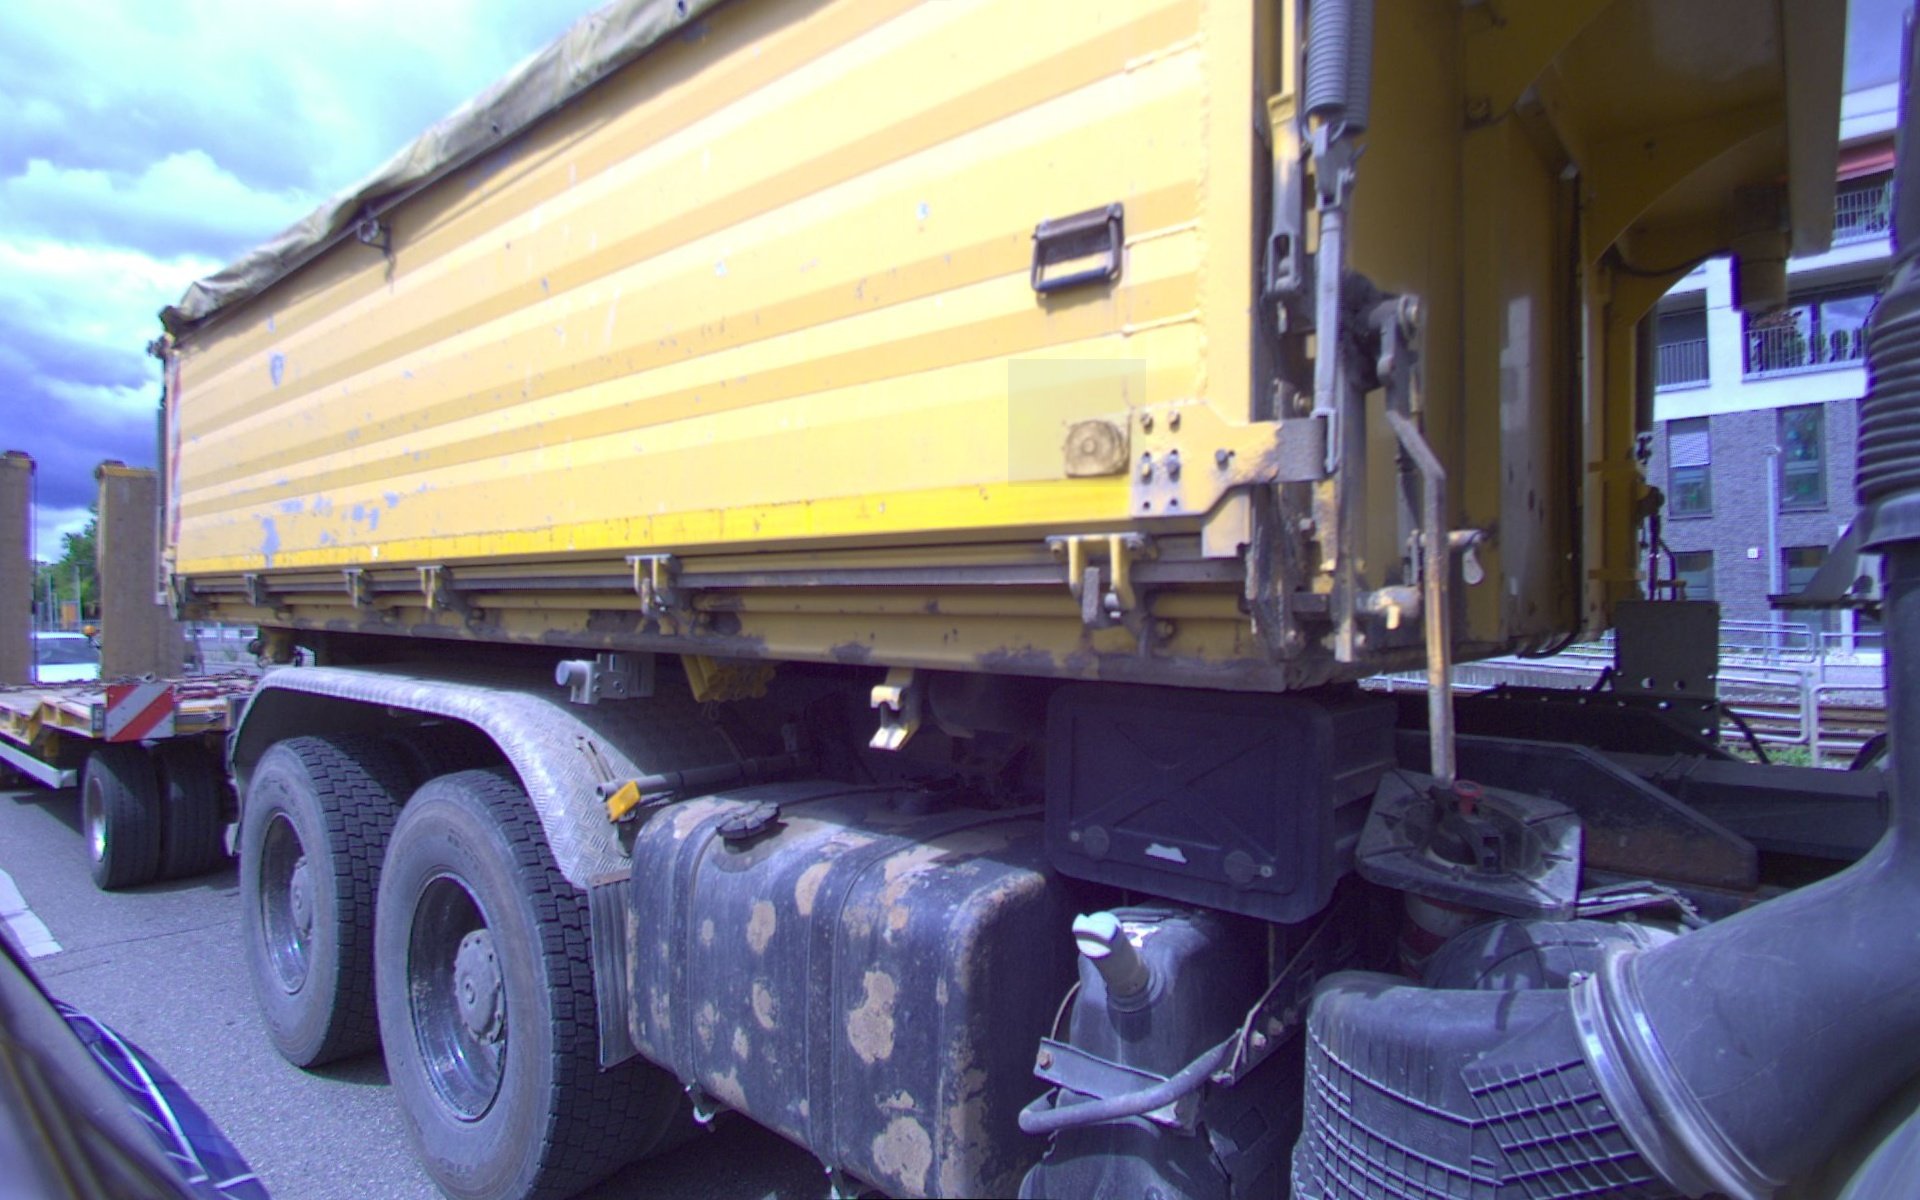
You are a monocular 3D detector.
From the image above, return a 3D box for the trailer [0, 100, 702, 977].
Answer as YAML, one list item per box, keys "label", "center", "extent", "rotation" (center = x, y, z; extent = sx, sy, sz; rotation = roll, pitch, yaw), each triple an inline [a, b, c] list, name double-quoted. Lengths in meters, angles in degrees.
- label: "trailer"
  center: [-6.855, -0.141, 9.009]
  extent: [10.957, 3.726, 3.018]
  rotation: [-2, -1, 40]

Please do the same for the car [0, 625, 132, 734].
- label: "car"
  center: [-14.037, 1.130, 15.313]
  extent: [3.784, 1.427, 1.761]
  rotation: [-2, -1, 41]

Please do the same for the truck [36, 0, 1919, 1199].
- label: "truck"
  center: [0.122, -0.224, 2.862]
  extent: [7.999, 3.420, 3.019]
  rotation: [-2, -1, 40]
